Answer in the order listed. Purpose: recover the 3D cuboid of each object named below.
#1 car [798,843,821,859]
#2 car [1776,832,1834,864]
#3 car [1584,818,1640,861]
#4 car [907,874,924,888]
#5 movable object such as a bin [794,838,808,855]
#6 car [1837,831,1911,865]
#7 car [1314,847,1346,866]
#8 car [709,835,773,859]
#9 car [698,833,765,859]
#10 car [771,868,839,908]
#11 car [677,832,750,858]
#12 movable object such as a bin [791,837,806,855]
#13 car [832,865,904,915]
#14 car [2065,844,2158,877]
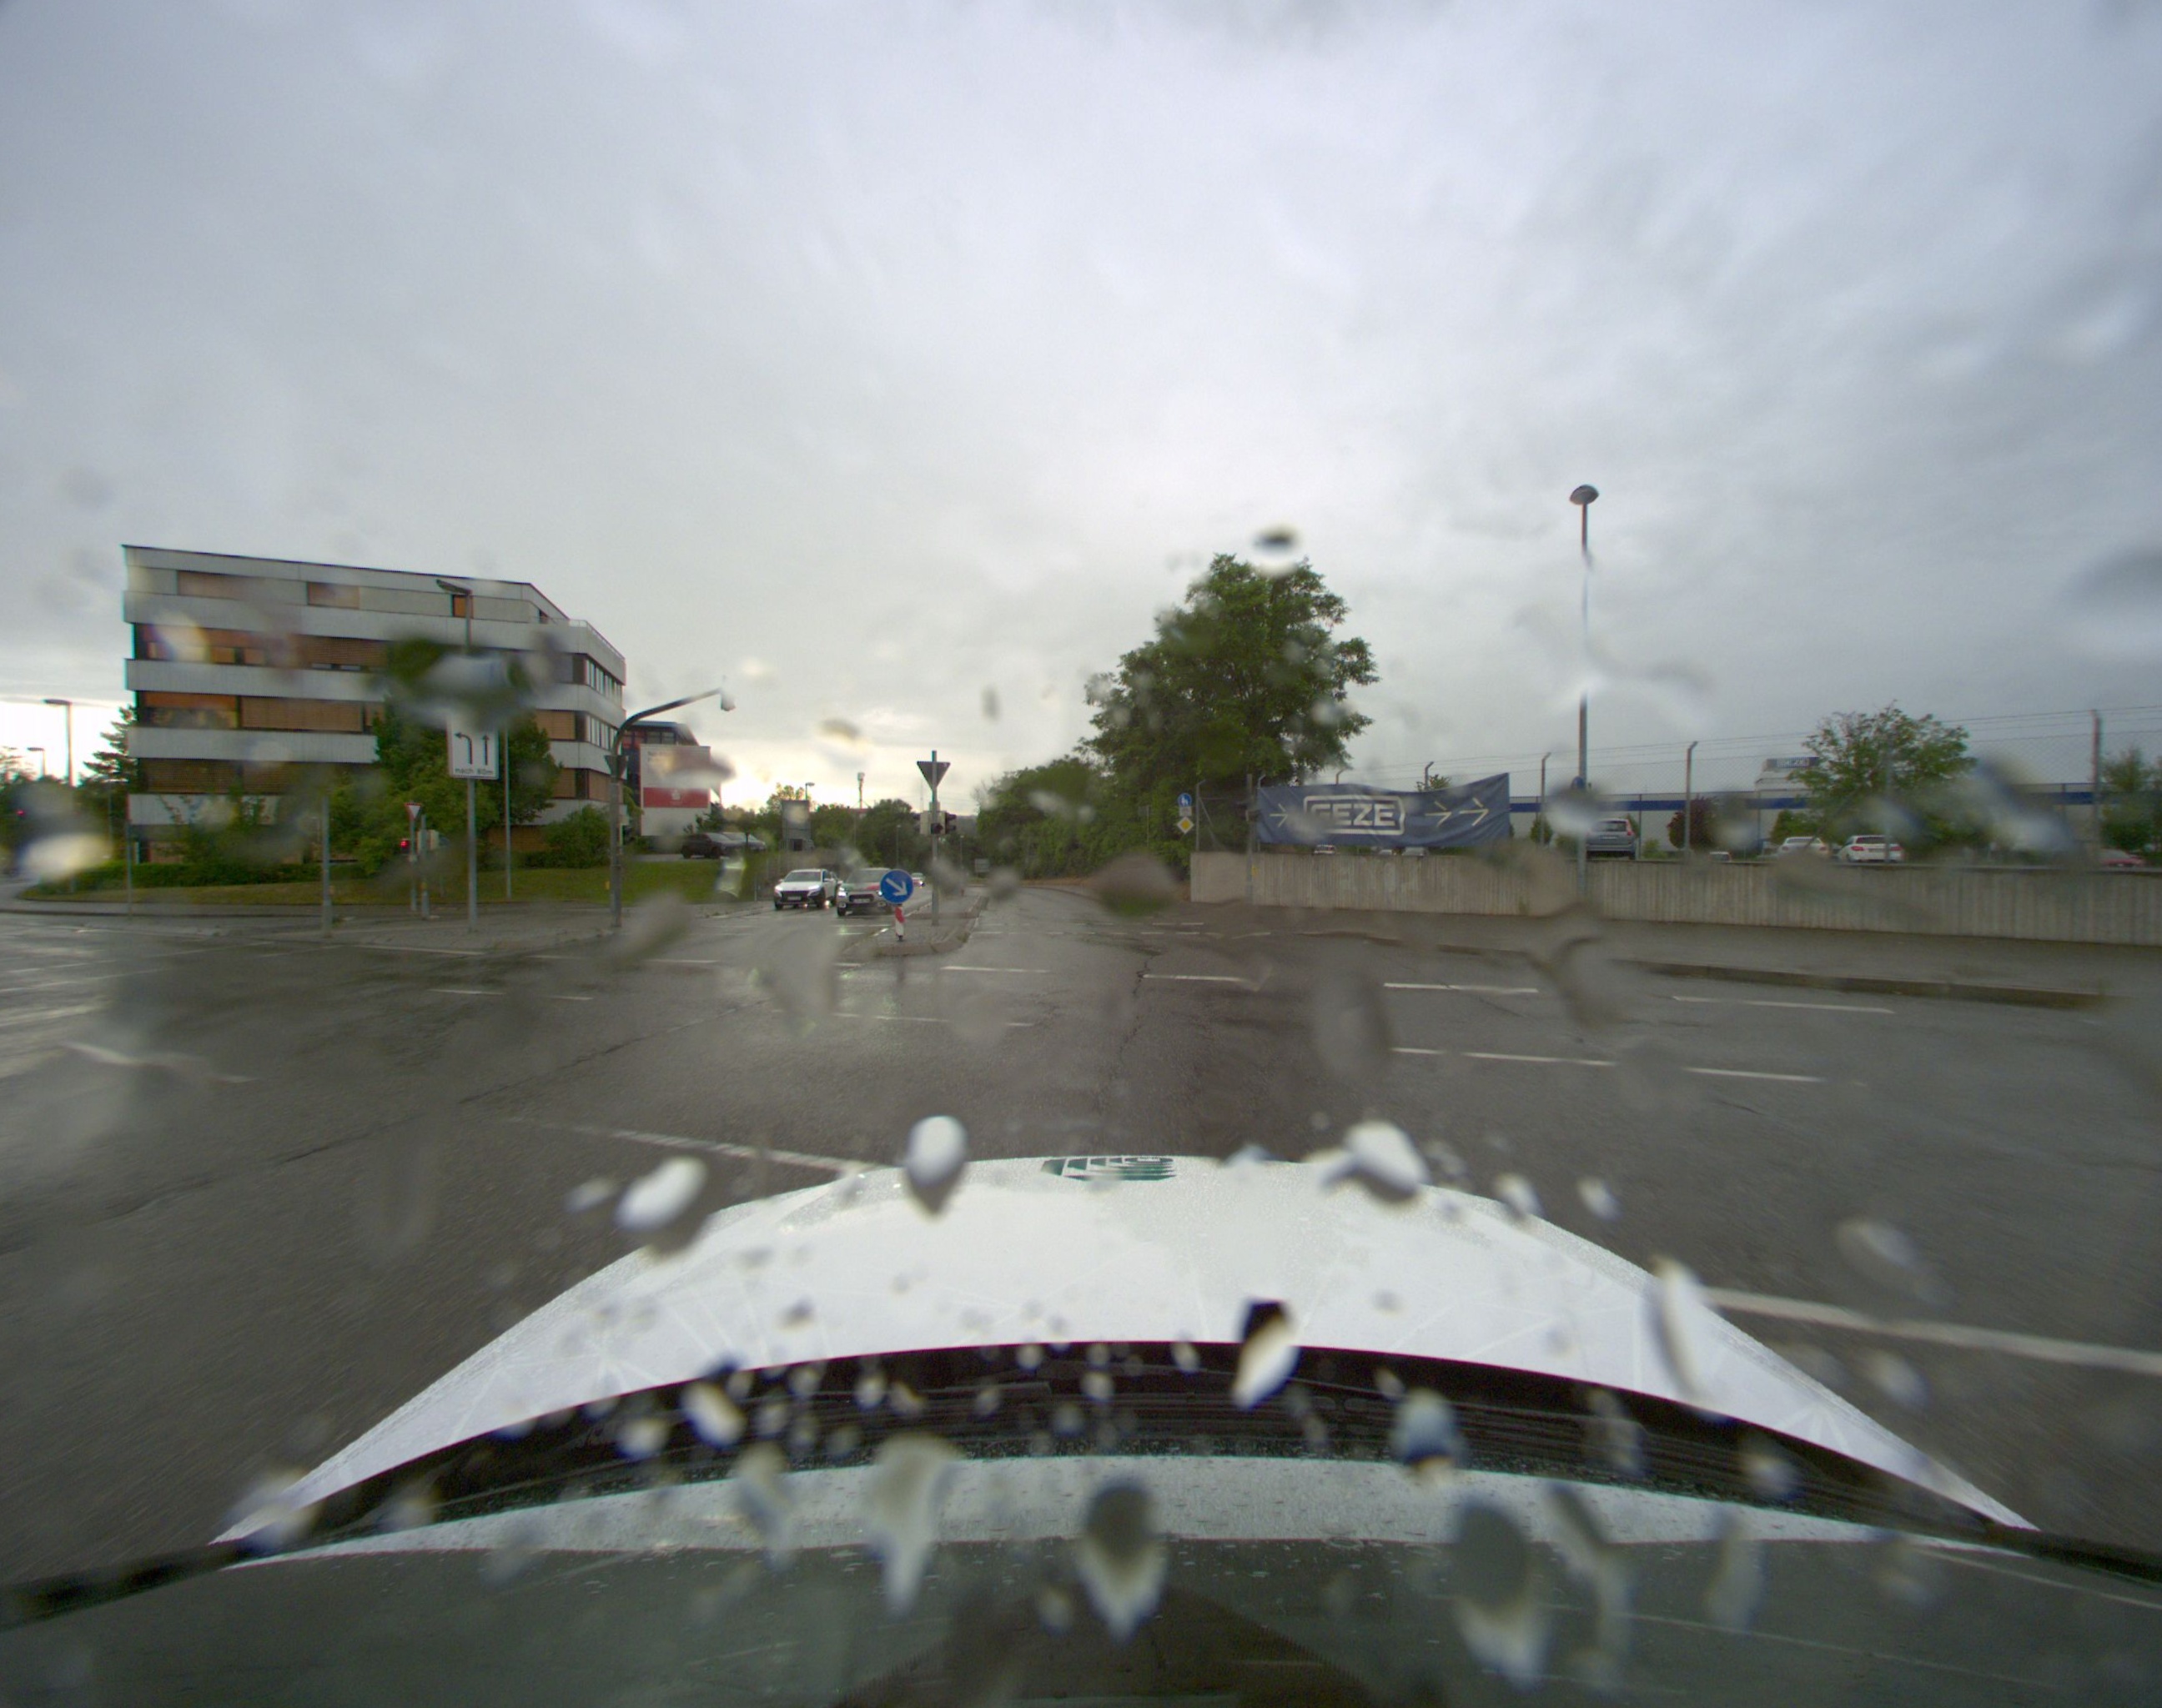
[{"bbox_3d":[-27.063,-0.308,81.214,1.830,1.442,3.979,1,-2,-15],"label":"car"},{"bbox_3d":[35.180,-0.264,39.656,1.800,1.434,4.130,-1,-1,38],"label":"car"},{"bbox_3d":[20.482,-0.527,31.452,1.726,1.553,3.553,-1,-1,33],"label":"car"},{"bbox_3d":[-18.713,3.024,92.147,1.652,1.429,3.781,0,0,-9],"label":"car"},{"bbox_3d":[-24.720,-0.669,71.929,1.085,1.437,1.439,1,-2,-15],"label":"movable object such as a bin"},{"bbox_3d":[37.446,-0.251,38.554,1.839,1.526,4.130,-1,-1,35],"label":"car"},{"bbox_3d":[21.603,0.201,70.584,1.650,1.606,3.553,-1,-1,33],"label":"car"},{"bbox_3d":[-23.924,-0.480,57.329,3.951,1.586,1.913,0,-2,24],"label":"car"},{"bbox_3d":[-23.353,-0.507,54.379,3.951,1.586,1.913,0,-2,24],"label":"car"},{"bbox_3d":[-11.049,1.314,32.832,1.718,1.494,3.991,0,-1,-6],"label":"car"},{"bbox_3d":[-23.292,-0.552,51.681,3.953,1.586,1.912,0,-2,20],"label":"car"},{"bbox_3d":[-24.478,-0.681,70.542,1.085,1.437,1.439,1,-2,-15],"label":"movable object such as a bin"},{"bbox_3d":[-6.897,1.126,26.725,1.659,1.494,3.991,0,-1,-6],"label":"car"},{"bbox_3d":[51.877,0.310,41.092,1.903,1.589,3.813,0,0,35],"label":"car"}]
